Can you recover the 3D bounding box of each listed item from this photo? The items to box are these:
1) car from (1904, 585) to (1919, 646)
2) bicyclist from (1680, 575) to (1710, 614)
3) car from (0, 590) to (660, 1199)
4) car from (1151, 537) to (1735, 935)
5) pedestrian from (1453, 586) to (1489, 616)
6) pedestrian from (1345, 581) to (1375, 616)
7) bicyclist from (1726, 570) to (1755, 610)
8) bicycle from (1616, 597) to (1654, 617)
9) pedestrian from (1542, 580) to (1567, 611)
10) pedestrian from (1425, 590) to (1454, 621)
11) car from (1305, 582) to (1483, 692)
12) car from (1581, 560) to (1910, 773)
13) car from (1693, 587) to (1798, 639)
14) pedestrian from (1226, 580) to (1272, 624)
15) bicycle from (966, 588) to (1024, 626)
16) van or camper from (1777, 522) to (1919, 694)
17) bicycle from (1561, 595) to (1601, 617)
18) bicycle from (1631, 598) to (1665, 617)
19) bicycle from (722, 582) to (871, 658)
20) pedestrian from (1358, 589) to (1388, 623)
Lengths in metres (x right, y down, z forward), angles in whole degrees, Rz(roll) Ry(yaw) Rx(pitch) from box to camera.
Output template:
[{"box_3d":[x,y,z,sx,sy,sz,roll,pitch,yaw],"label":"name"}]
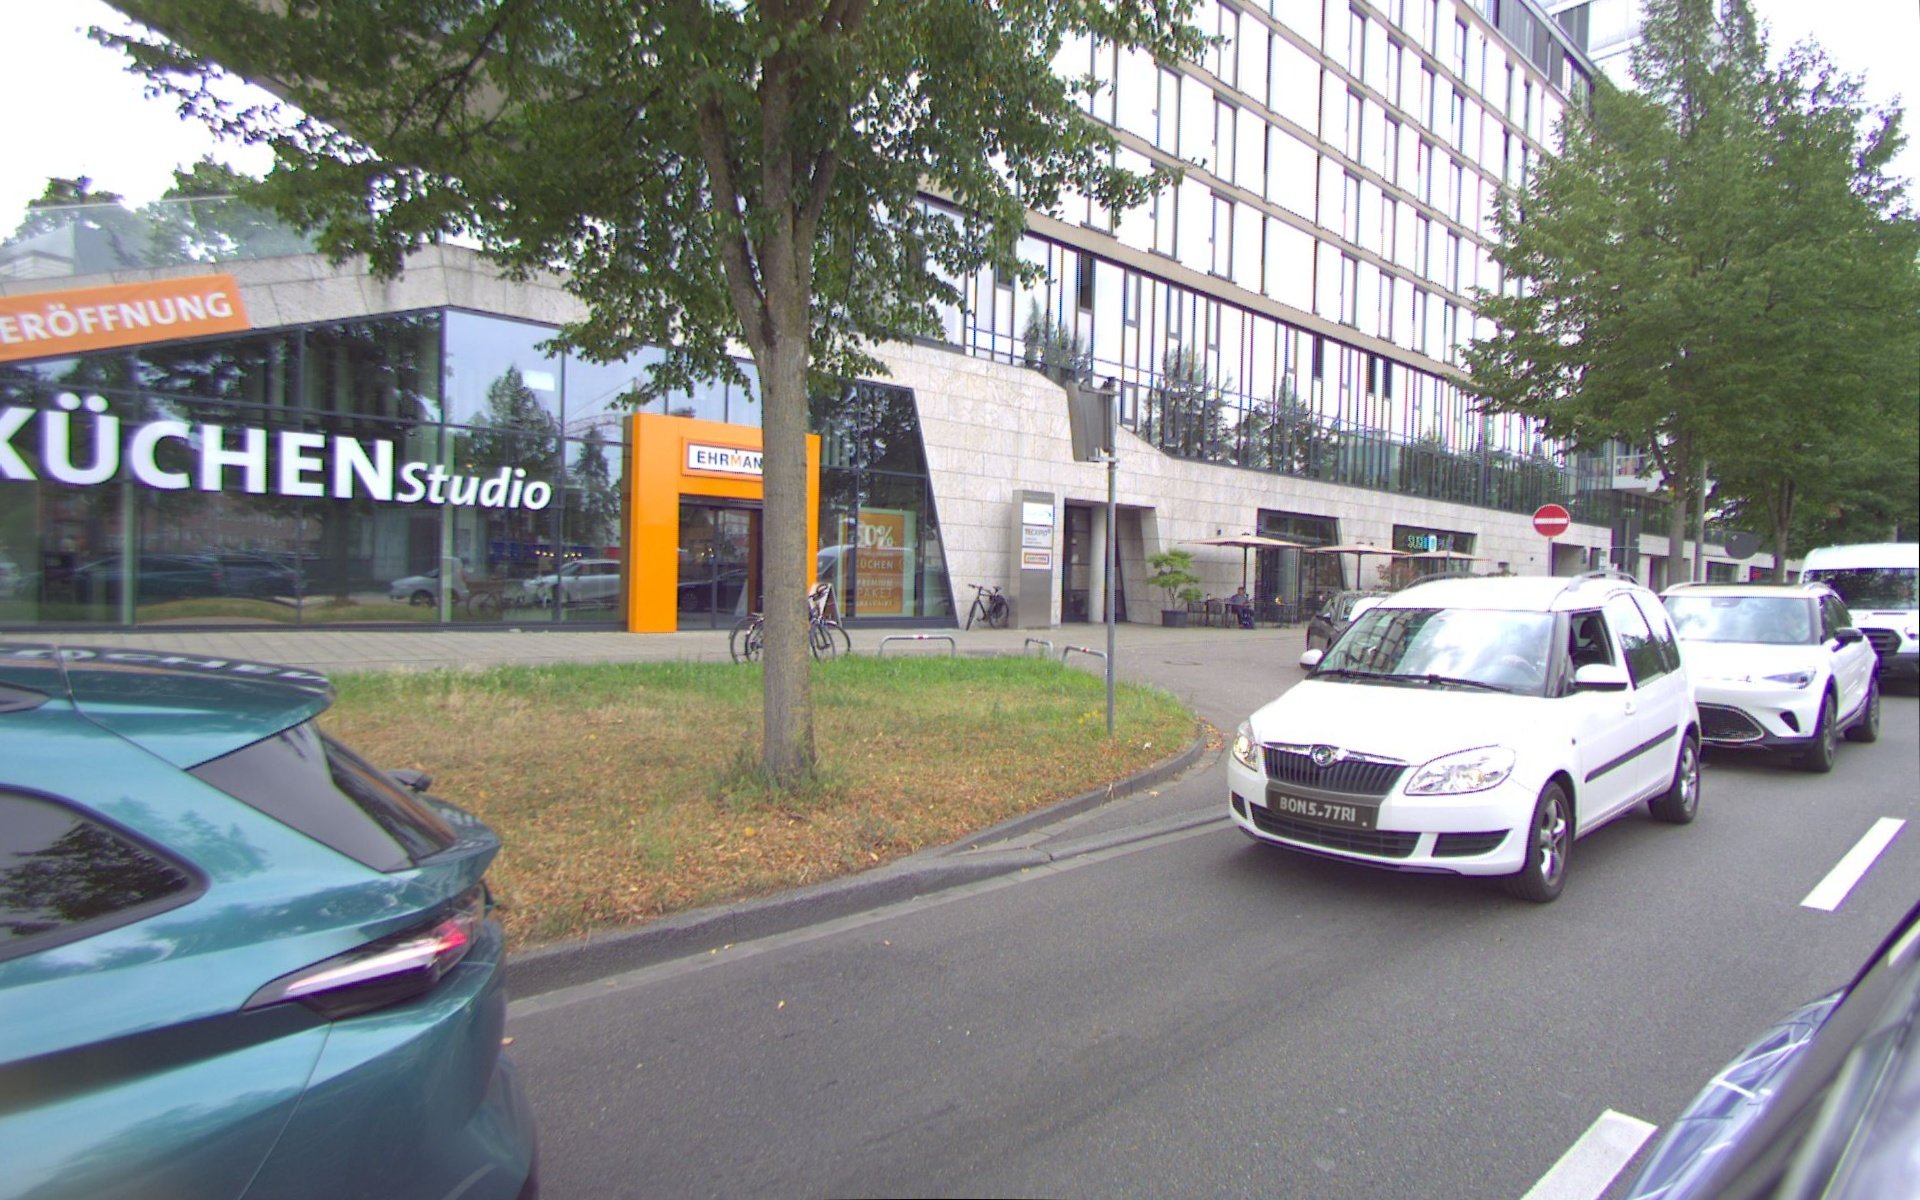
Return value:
[{"box_3d":[26.508,0.426,26.634,4.066,1.557,1.972,0,2,-41],"label":"car"},{"box_3d":[31.098,-0.250,42.822,0.972,1.601,0.726,0,3,-38],"label":"bicyclist"},{"box_3d":[-2.636,0.707,0.848,4.239,1.450,1.789,0,0,-44],"label":"car"},{"box_3d":[3.145,0.549,6.227,3.952,1.677,1.782,0,2,-41],"label":"car"},{"box_3d":[20.628,0.037,40.846,1.083,1.207,0.776,1,1,-26],"label":"pedestrian"},{"box_3d":[14.344,-0.051,36.304,0.746,1.207,0.720,1,1,-42],"label":"pedestrian"},{"box_3d":[32.215,-0.410,41.772,0.973,1.601,0.725,0,3,-44],"label":"bicyclist"},{"box_3d":[36.833,0.383,55.243,0.524,1.039,1.599,0,2,-43],"label":"bicycle"},{"box_3d":[28.238,-0.228,48.106,0.707,1.424,0.759,1,1,-33],"label":"pedestrian"},{"box_3d":[19.128,0.217,40.380,0.743,1.207,0.723,1,1,-19],"label":"pedestrian"},{"box_3d":[7.007,0.478,16.882,1.919,1.494,4.850,2,1,14],"label":"car"},{"box_3d":[7.823,0.504,9.955,3.952,1.677,1.782,0,2,-41],"label":"car"},{"box_3d":[26.034,0.413,33.497,4.514,1.571,1.941,1,1,-42],"label":"car"},{"box_3d":[8.499,0.051,29.738,0.932,1.243,0.900,1,1,-36],"label":"pedestrian"},{"box_3d":[0.879,0.166,25.132,1.467,0.921,0.519,0,1,-41],"label":"bicycle"},{"box_3d":[16.104,0.120,17.455,6.230,2.540,2.181,0,0,-42],"label":"van or camper"},{"box_3d":[31.151,0.302,50.767,1.584,1.039,0.606,3,2,23],"label":"bicycle"},{"box_3d":[39.452,0.426,58.030,0.524,1.039,1.530,0,2,-43],"label":"bicycle"},{"box_3d":[-2.235,0.253,14.087,0.630,0.968,2.074,2,2,44],"label":"bicycle"},{"box_3d":[15.064,0.217,36.934,0.745,1.207,0.720,1,1,-39],"label":"pedestrian"}]
